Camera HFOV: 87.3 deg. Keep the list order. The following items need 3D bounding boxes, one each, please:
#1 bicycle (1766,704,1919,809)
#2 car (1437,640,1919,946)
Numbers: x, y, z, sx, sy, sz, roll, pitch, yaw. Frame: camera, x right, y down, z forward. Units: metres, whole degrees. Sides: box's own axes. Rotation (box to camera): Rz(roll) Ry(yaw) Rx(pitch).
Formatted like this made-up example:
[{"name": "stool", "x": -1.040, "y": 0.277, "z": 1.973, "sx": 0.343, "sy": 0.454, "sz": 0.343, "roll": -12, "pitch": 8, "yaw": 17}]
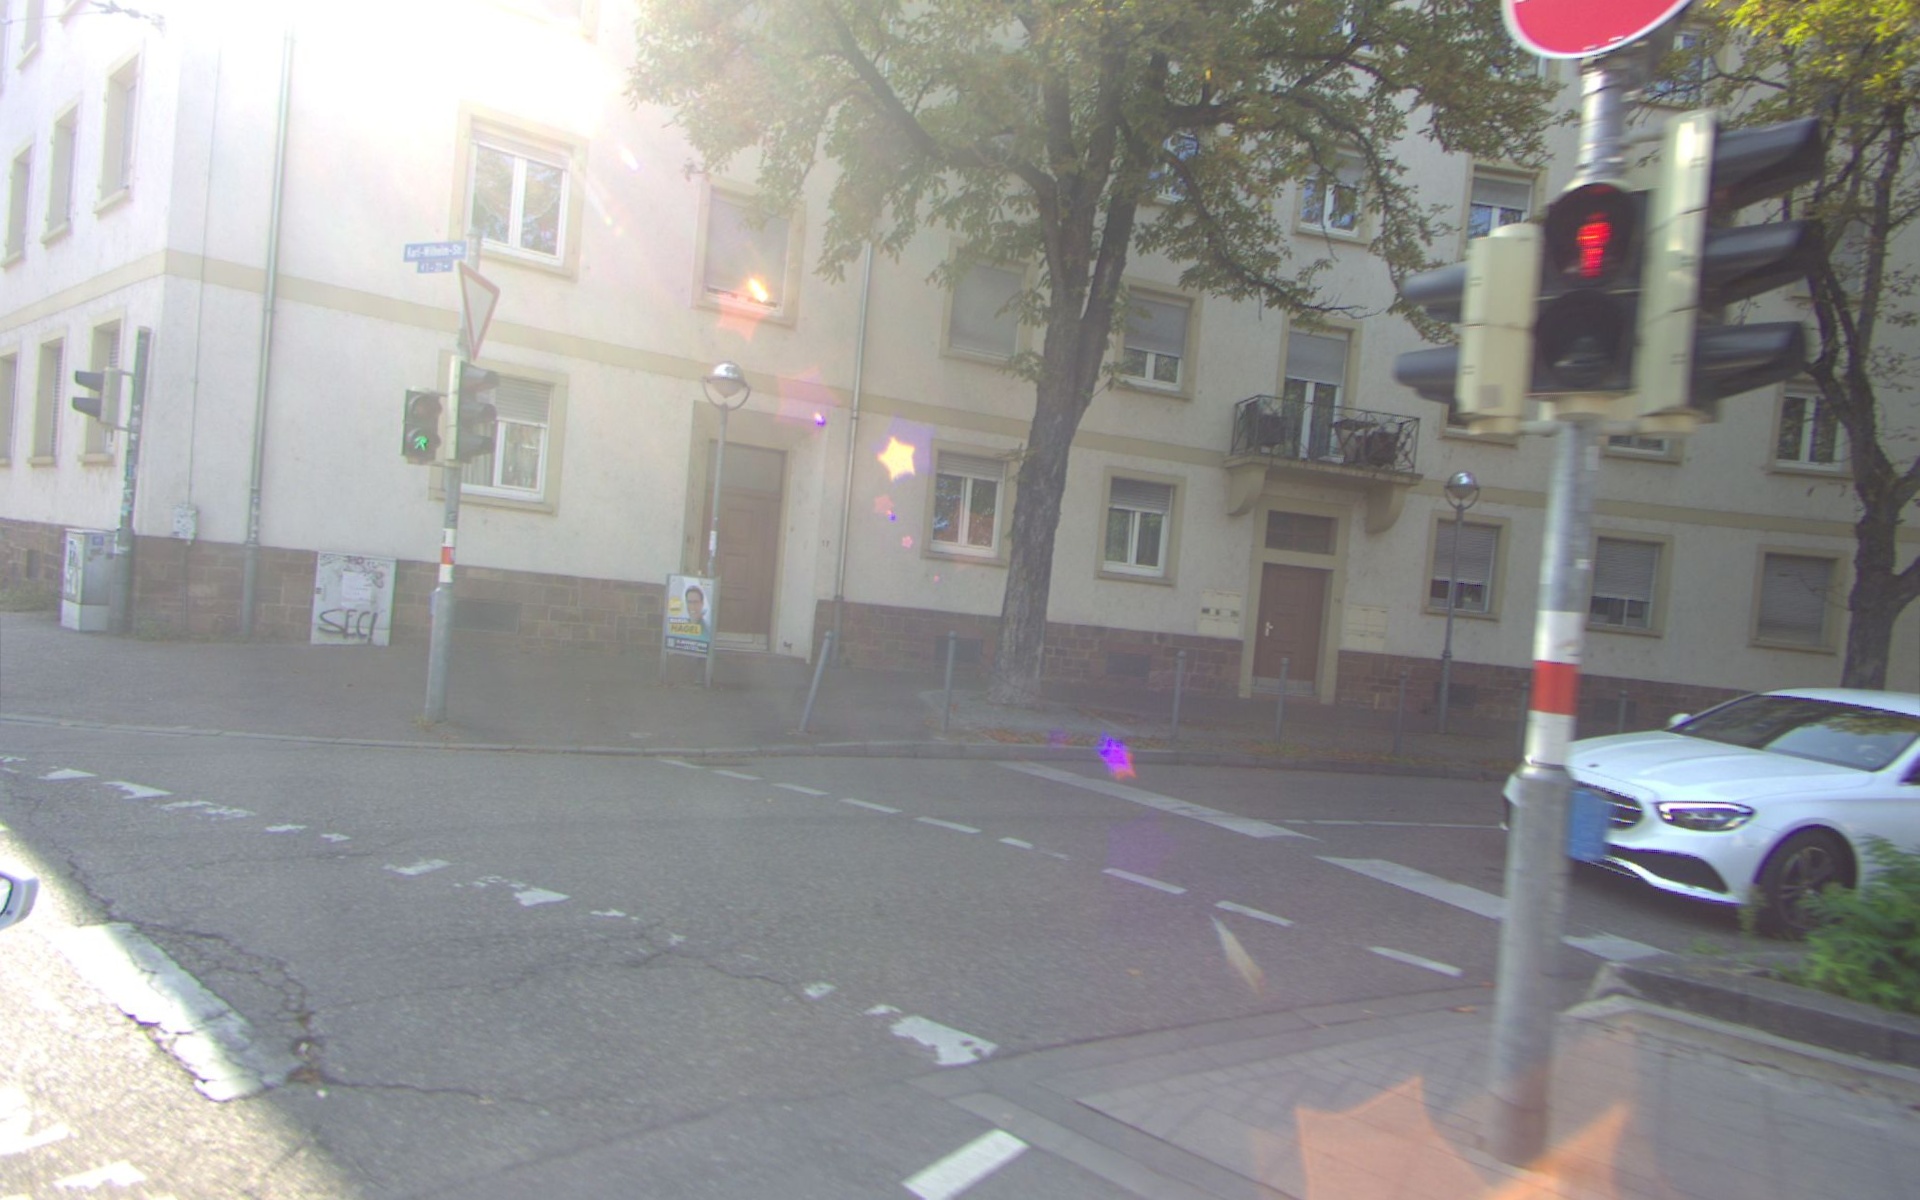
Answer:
[{"name": "bicycle", "x": 11.615, "y": 2.024, "z": 12.943, "sx": 1.805, "sy": 1.071, "sz": 0.608, "roll": 8, "pitch": 1, "yaw": 4}, {"name": "car", "x": 6.123, "y": 1.307, "z": 6.967, "sx": 4.872, "sy": 1.489, "sz": 1.870, "roll": 5, "pitch": 3, "yaw": -13}]
